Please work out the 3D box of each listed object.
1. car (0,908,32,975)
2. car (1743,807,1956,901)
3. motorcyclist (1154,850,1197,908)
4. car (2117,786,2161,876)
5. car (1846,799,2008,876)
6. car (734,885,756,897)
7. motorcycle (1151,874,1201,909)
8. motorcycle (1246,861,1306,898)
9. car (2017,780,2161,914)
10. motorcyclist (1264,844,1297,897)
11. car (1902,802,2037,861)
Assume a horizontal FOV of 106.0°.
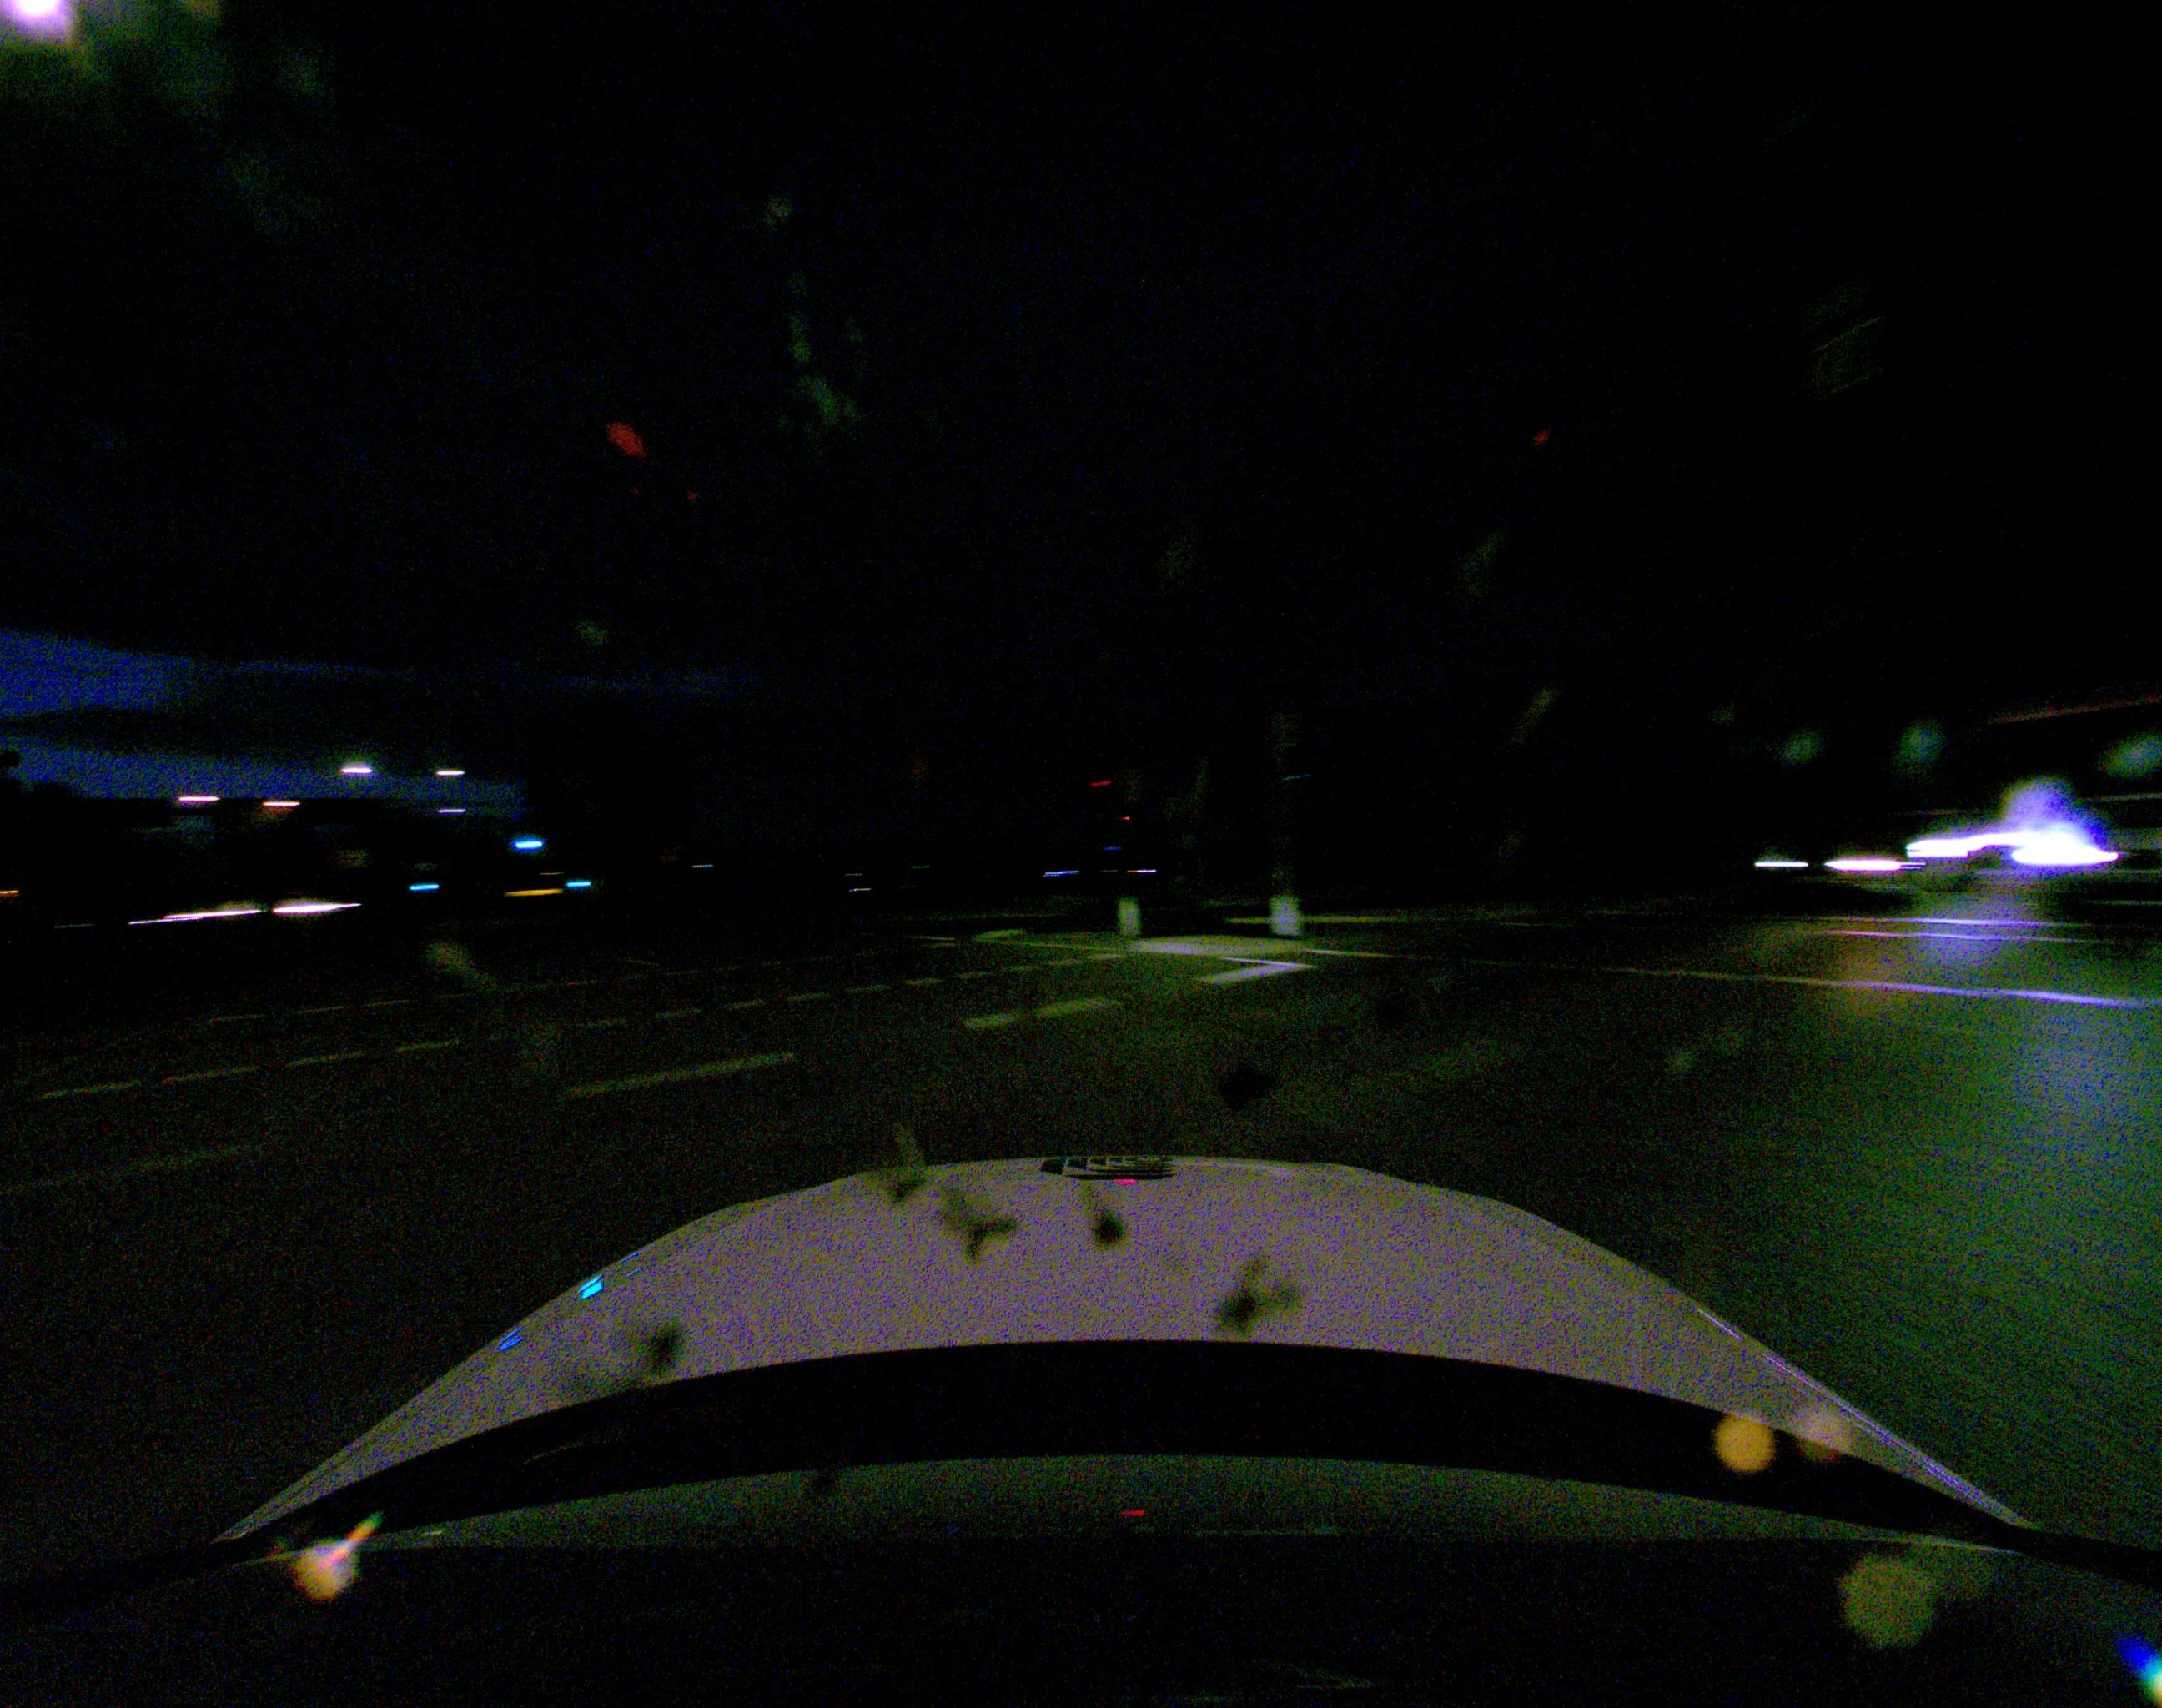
[{"bbox_3d":[-23.085,1.856,15.860,1.885,1.398,4.785,-2,-1,-35],"label":"car"},{"bbox_3d":[14.243,-0.054,15.042,4.306,1.445,1.768,-3,0,-32],"label":"car"},{"bbox_3d":[3.050,0.821,26.379,0.875,1.809,0.905,3,-8,-45],"label":"motorcyclist"},{"bbox_3d":[21.610,-0.533,15.594,4.379,1.626,1.733,-3,0,-33],"label":"car"},{"bbox_3d":[19.498,-0.397,18.732,4.016,1.524,1.818,-3,-1,-33],"label":"car"},{"bbox_3d":[-63.910,6.982,154.944,1.980,2.013,4.013,-2,0,11],"label":"car"},{"bbox_3d":[3.094,1.215,26.362,0.714,1.033,1.586,-9,-8,44],"label":"motorcycle"},{"bbox_3d":[6.871,0.904,28.710,1.816,1.182,0.846,-3,-5,-10],"label":"motorcycle"},{"bbox_3d":[15.303,-0.189,11.614,4.436,1.682,1.895,-3,0,-33],"label":"car"},{"bbox_3d":[7.042,0.587,28.743,0.787,1.759,0.681,-3,-5,-10],"label":"motorcyclist"},{"bbox_3d":[24.887,-0.635,22.776,4.414,1.390,1.818,-3,-1,-33],"label":"car"}]
